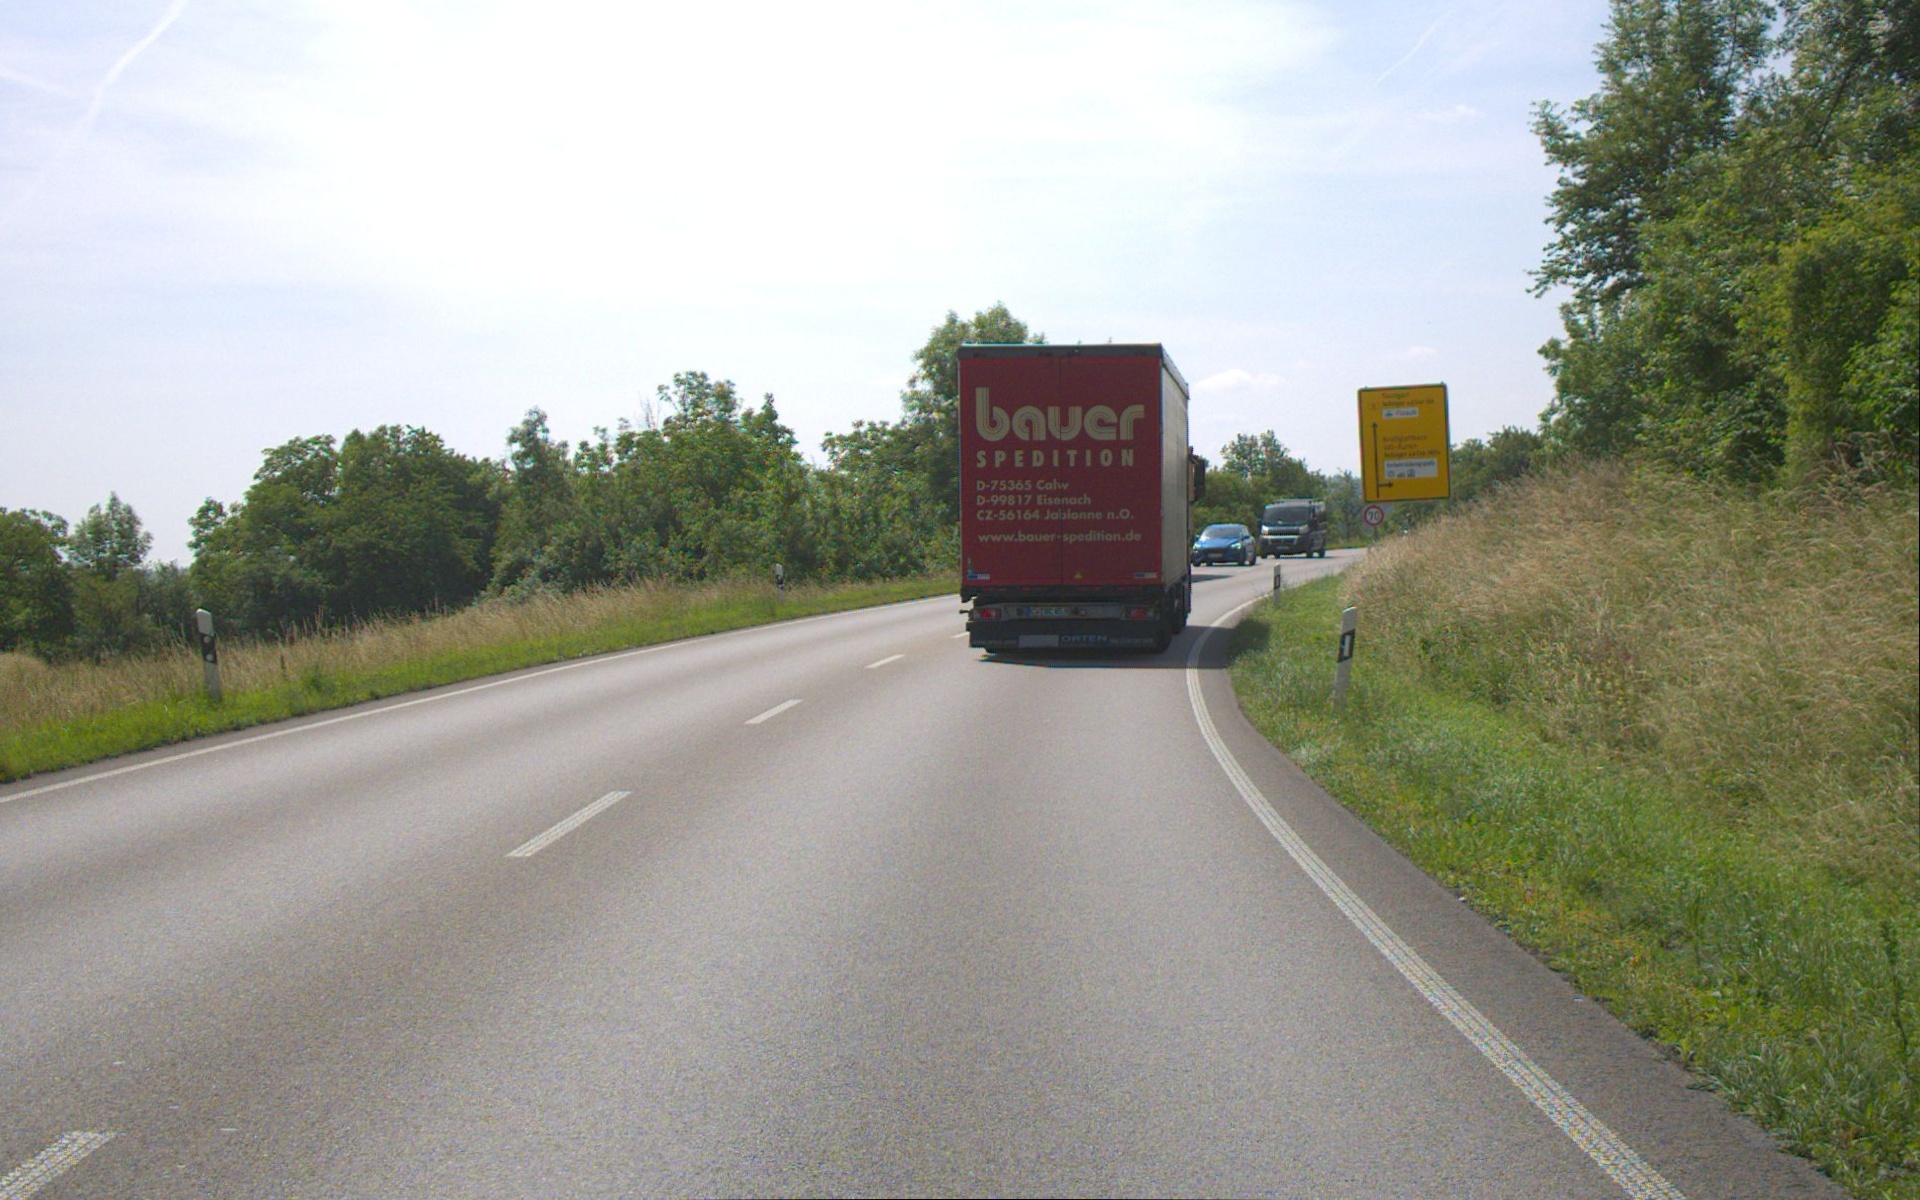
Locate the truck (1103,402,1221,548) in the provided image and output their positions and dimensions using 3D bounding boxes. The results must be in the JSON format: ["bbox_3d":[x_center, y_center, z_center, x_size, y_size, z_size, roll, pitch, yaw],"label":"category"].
[{"bbox_3d":[5.893,-3.611,99.578,2.807,4.053,5.983,-1,2,9],"label":"truck"}]

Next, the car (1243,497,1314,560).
[{"bbox_3d":[12.672,-2.863,136.593,2.171,2.295,4.905,-4,1,11],"label":"car"}]

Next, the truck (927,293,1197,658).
[{"bbox_3d":[1.674,-1.701,48.511,3.113,4.490,12.166,0,2,5],"label":"truck"}]

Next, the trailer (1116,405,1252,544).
[{"bbox_3d":[7.128,-3.778,107.447,2.998,4.029,12.912,0,1,9],"label":"trailer"}]

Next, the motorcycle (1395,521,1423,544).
[{"bbox_3d":[21.739,-3.264,166.486,0.758,0.990,2.277,8,5,19],"label":"motorcycle"}]

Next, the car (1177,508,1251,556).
[{"bbox_3d":[9.047,-2.427,122.296,1.864,1.480,4.357,-4,1,13],"label":"car"}]

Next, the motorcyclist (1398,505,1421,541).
[{"bbox_3d":[21.761,-3.742,166.502,0.919,1.712,0.962,-1,1,20],"label":"motorcyclist"}]
